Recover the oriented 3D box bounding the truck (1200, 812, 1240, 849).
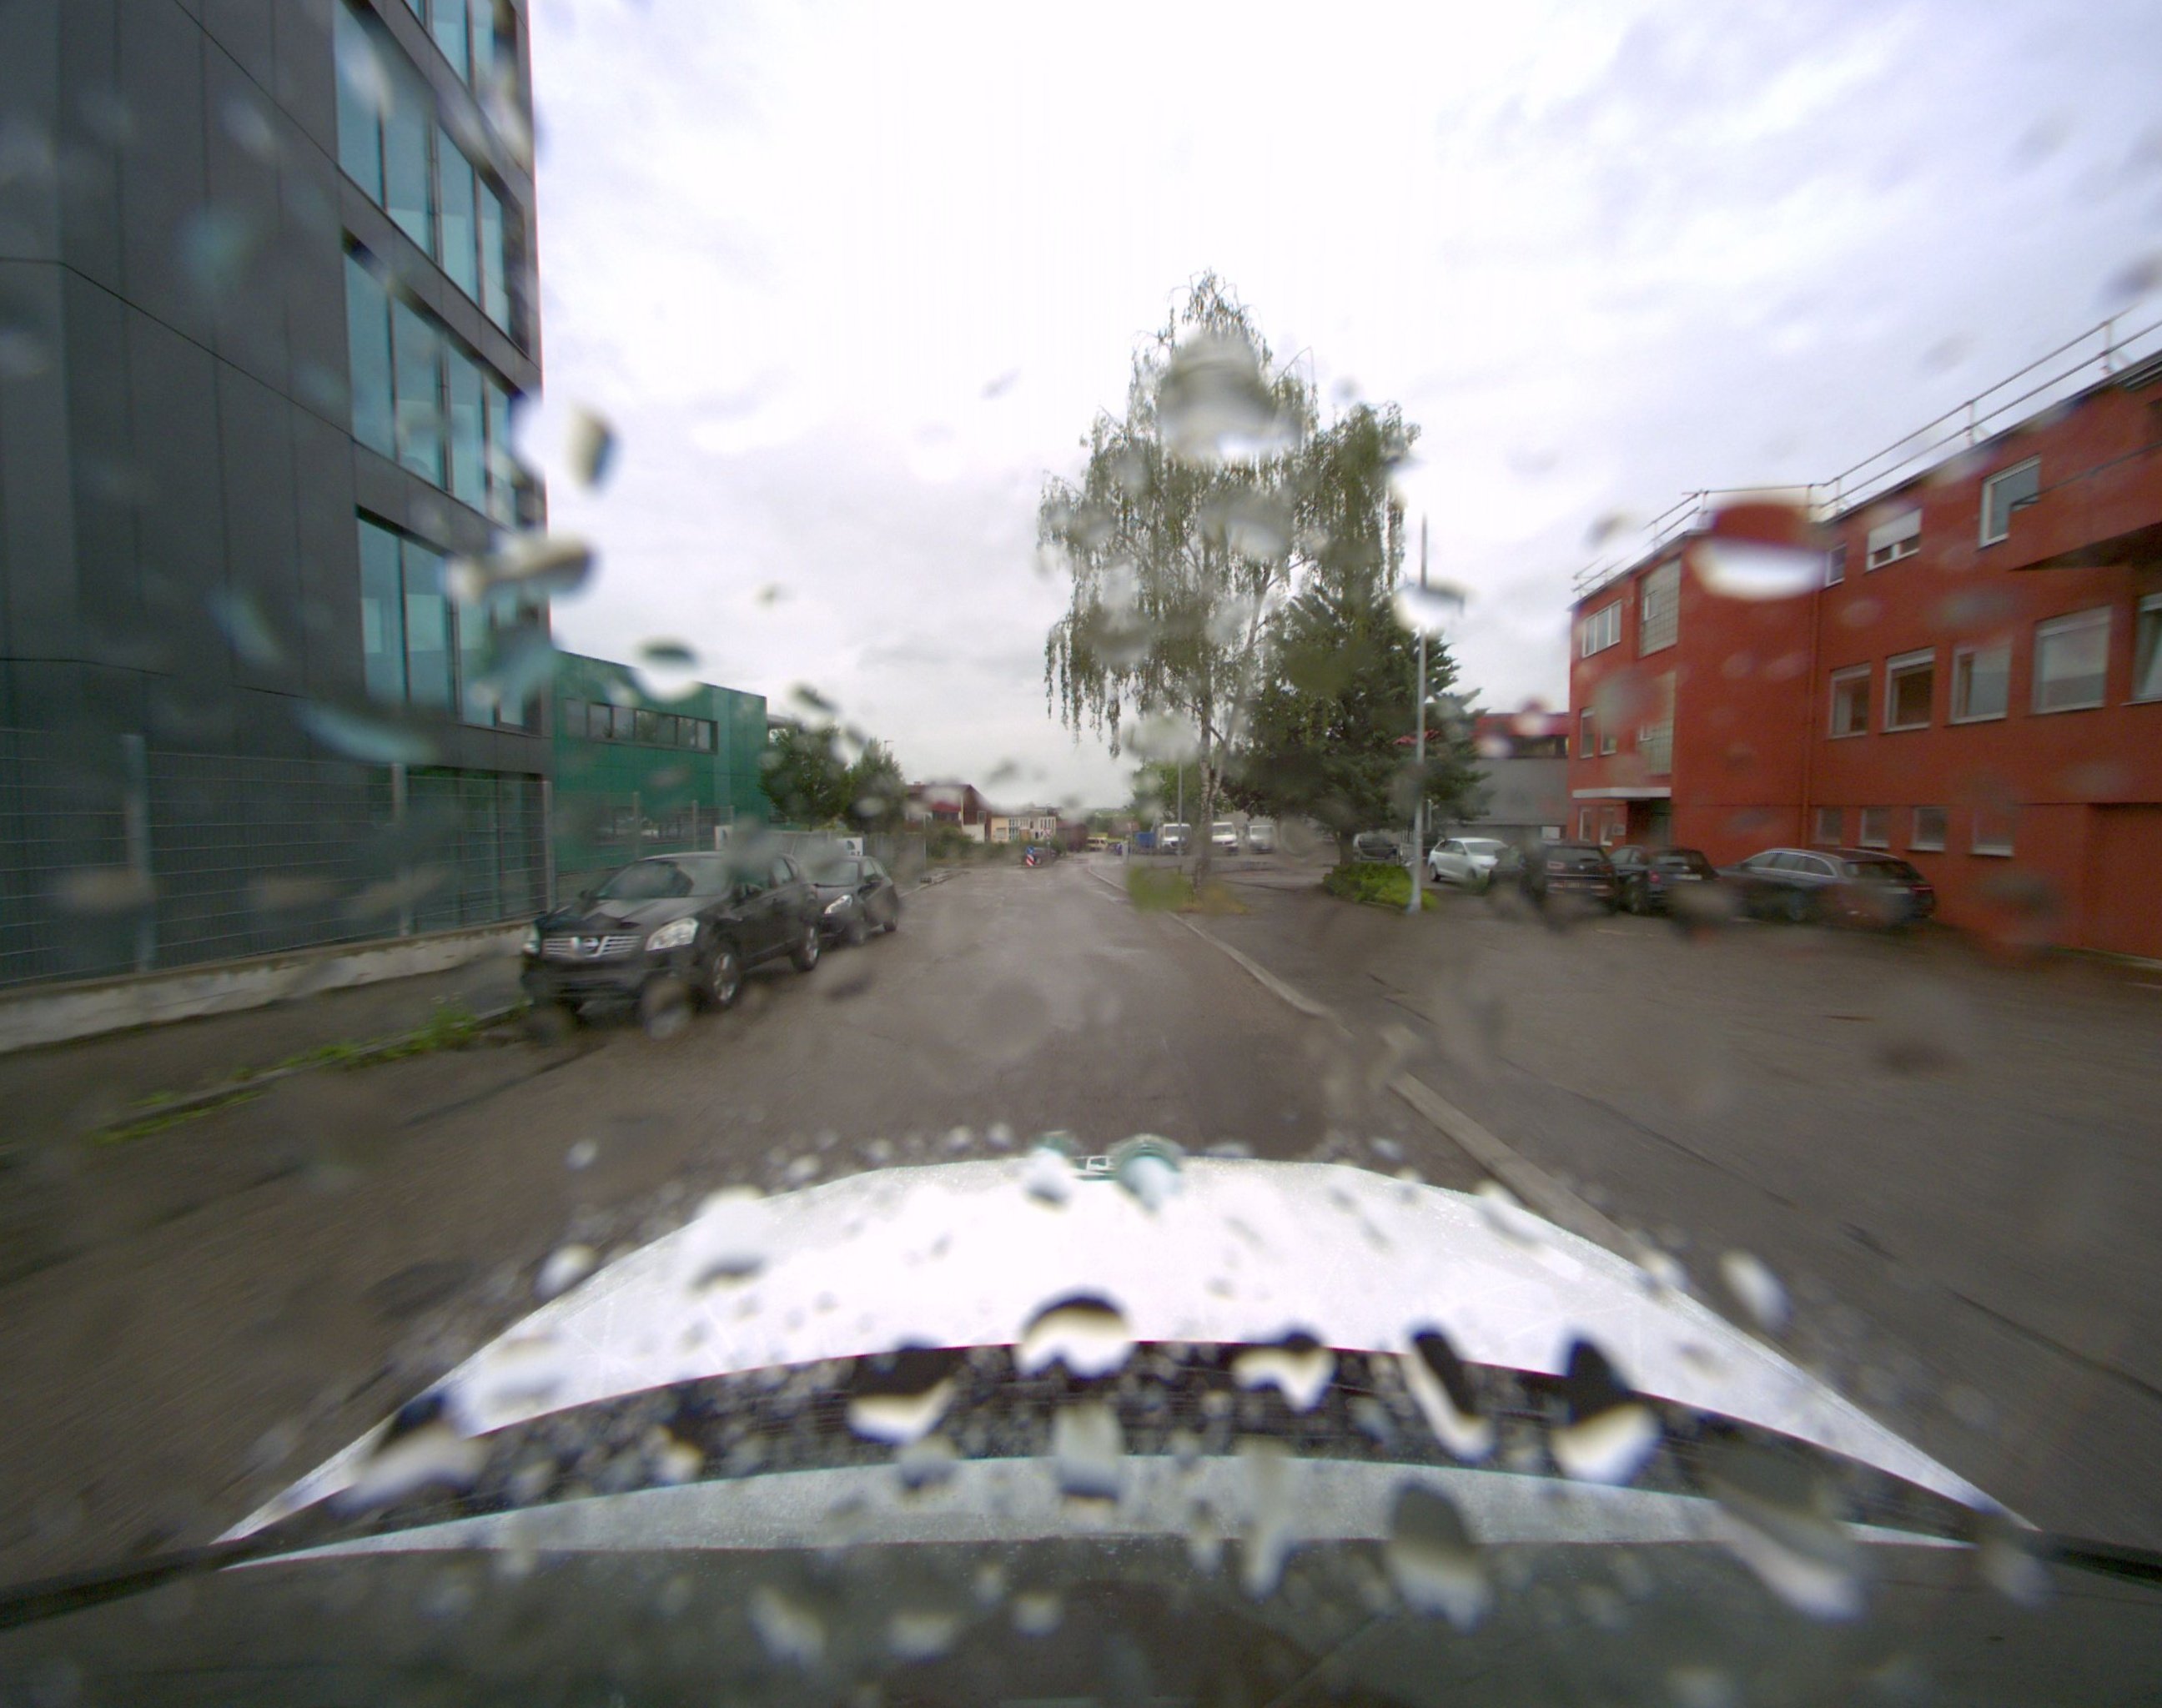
[{"bbox_3d":[9.302,-1.533,54.767,2.232,2.341,4.843,-1,1,5],"label":"truck"}]

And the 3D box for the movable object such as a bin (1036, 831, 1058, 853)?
[{"bbox_3d":[-4.005,-1.384,96.036,1.720,2.556,3.352,-1,1,14],"label":"movable object such as a bin"}]

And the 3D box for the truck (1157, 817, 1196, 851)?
[{"bbox_3d":[6.429,-1.326,55.362,2.097,2.214,5.656,-1,1,2],"label":"truck"}]

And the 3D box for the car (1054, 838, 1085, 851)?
[{"bbox_3d":[-1.709,-1.368,119.580,4.354,1.905,2.012,0,1,42],"label":"car"}]

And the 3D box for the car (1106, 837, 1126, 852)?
[{"bbox_3d":[4.572,-1.272,107.765,2.070,1.834,4.463,-1,1,-5],"label":"car"}]

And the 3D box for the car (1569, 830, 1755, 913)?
[{"bbox_3d":[13.179,0.322,18.856,1.976,1.678,4.528,0,1,13],"label":"car"}]

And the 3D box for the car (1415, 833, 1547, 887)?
[{"bbox_3d":[12.152,0.125,25.075,1.898,1.470,4.328,-1,1,-1],"label":"car"}]

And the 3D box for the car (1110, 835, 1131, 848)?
[{"bbox_3d":[4.943,-1.531,101.593,1.949,1.610,4.438,-1,1,-6],"label":"car"}]

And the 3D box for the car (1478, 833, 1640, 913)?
[{"bbox_3d":[10.803,0.338,18.817,1.982,1.579,4.529,1,1,14],"label":"car"}]

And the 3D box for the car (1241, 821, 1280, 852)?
[{"bbox_3d":[12.161,-1.179,55.444,2.046,2.013,4.947,-1,1,6],"label":"car"}]

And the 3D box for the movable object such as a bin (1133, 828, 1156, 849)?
[{"bbox_3d":[4.513,-1.096,58.035,1.305,1.500,1.854,-1,0,-7],"label":"movable object such as a bin"}]

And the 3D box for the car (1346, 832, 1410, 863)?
[{"bbox_3d":[14.672,-0.308,40.351,2.695,1.446,1.683,-1,0,10],"label":"car"}]

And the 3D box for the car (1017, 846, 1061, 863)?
[{"bbox_3d":[-3.869,0.028,74.873,3.950,1.534,1.771,0,1,44],"label":"car"}]

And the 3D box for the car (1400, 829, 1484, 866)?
[{"bbox_3d":[15.806,-0.290,35.771,3.018,1.495,1.633,-1,1,7],"label":"car"}]

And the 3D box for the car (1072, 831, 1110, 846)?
[{"bbox_3d":[1.707,-2.548,137.333,5.959,2.415,2.476,-1,0,20],"label":"car"}]

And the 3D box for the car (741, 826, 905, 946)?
[{"bbox_3d":[-4.355,0.464,14.406,1.735,1.797,3.956,-1,1,-2],"label":"car"}]

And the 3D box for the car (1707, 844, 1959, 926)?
[{"bbox_3d":[15.789,0.543,17.503,1.956,1.449,4.528,1,1,13],"label":"car"}]

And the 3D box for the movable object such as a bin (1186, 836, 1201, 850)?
[{"bbox_3d":[8.316,-0.800,60.195,1.043,1.042,0.886,-1,0,9],"label":"movable object such as a bin"}]

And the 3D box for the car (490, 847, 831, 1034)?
[{"bbox_3d":[-4.311,0.744,9.181,1.627,1.558,4.084,-1,1,1],"label":"car"}]
